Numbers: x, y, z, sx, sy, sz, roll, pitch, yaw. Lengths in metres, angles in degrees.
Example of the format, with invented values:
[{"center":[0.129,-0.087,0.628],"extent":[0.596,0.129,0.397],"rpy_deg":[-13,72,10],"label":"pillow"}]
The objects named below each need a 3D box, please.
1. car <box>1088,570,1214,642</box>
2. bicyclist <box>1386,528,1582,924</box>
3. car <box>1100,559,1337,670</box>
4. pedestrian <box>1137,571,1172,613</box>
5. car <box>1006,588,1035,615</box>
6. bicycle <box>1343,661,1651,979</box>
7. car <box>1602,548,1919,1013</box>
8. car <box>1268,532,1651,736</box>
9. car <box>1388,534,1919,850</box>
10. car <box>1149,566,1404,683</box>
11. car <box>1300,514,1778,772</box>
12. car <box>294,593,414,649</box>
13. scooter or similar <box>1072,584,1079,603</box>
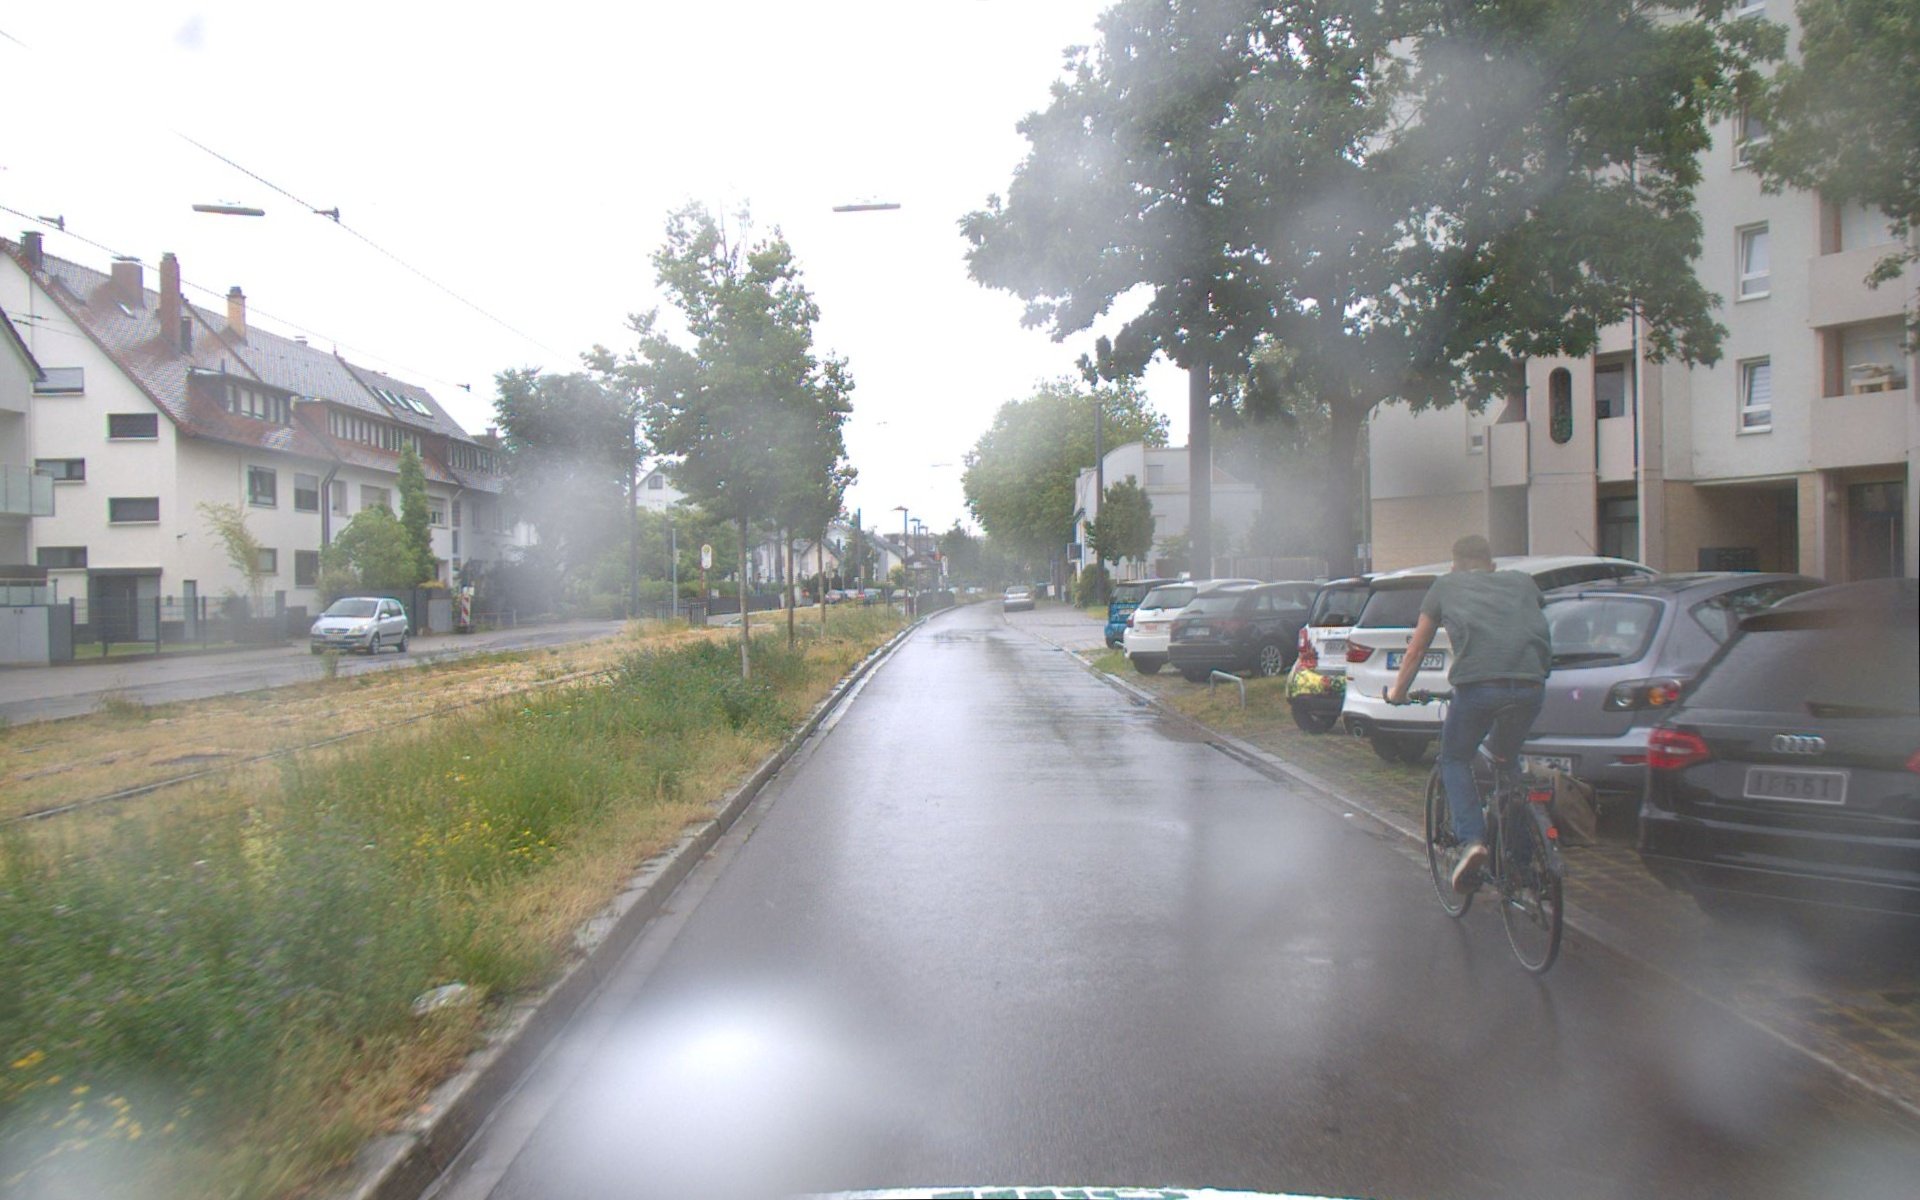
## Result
[{"center":[4.409,0.124,38.176],"extent":[2.542,1.575,1.579],"rpy_deg":[-1,0,-40],"label":"car"},{"center":[2.209,0.505,7.037],"extent":[0.524,1.587,0.771],"rpy_deg":[0,-1,-6],"label":"bicyclist"},{"center":[4.533,0.214,28.670],"extent":[4.149,1.574,1.739],"rpy_deg":[-5,2,-41],"label":"car"},{"center":[7.155,-0.283,60.877],"extent":[0.826,1.544,1.084],"rpy_deg":[0,-1,-29],"label":"pedestrian"},{"center":[3.624,0.120,98.750],"extent":[1.616,1.429,4.650],"rpy_deg":[-4,-1,2],"label":"car"},{"center":[2.217,0.847,7.097],"extent":[0.526,1.112,1.946],"rpy_deg":[0,0,-5],"label":"bicycle"},{"center":[4.786,0.495,6.970],"extent":[4.410,1.453,1.664],"rpy_deg":[-5,2,-35],"label":"car"},{"center":[5.241,0.272,17.111],"extent":[4.143,1.700,1.662],"rpy_deg":[-5,2,-38],"label":"car"},{"center":[4.866,0.412,10.418],"extent":[4.411,1.434,1.746],"rpy_deg":[-5,2,-35],"label":"car"},{"center":[4.927,0.342,25.497],"extent":[3.905,1.456,1.662],"rpy_deg":[-5,2,-38],"label":"car"},{"center":[5.003,0.250,13.973],"extent":[4.421,1.700,1.786],"rpy_deg":[-5,2,-40],"label":"car"},{"center":[-16.230,0.543,44.460],"extent":[1.953,1.438,3.657],"rpy_deg":[0,0,-2],"label":"car"},{"center":[6.784,-0.383,96.901],"extent":[0.326,1.104,1.397],"rpy_deg":[0,0,7],"label":"scooter or similar"}]
